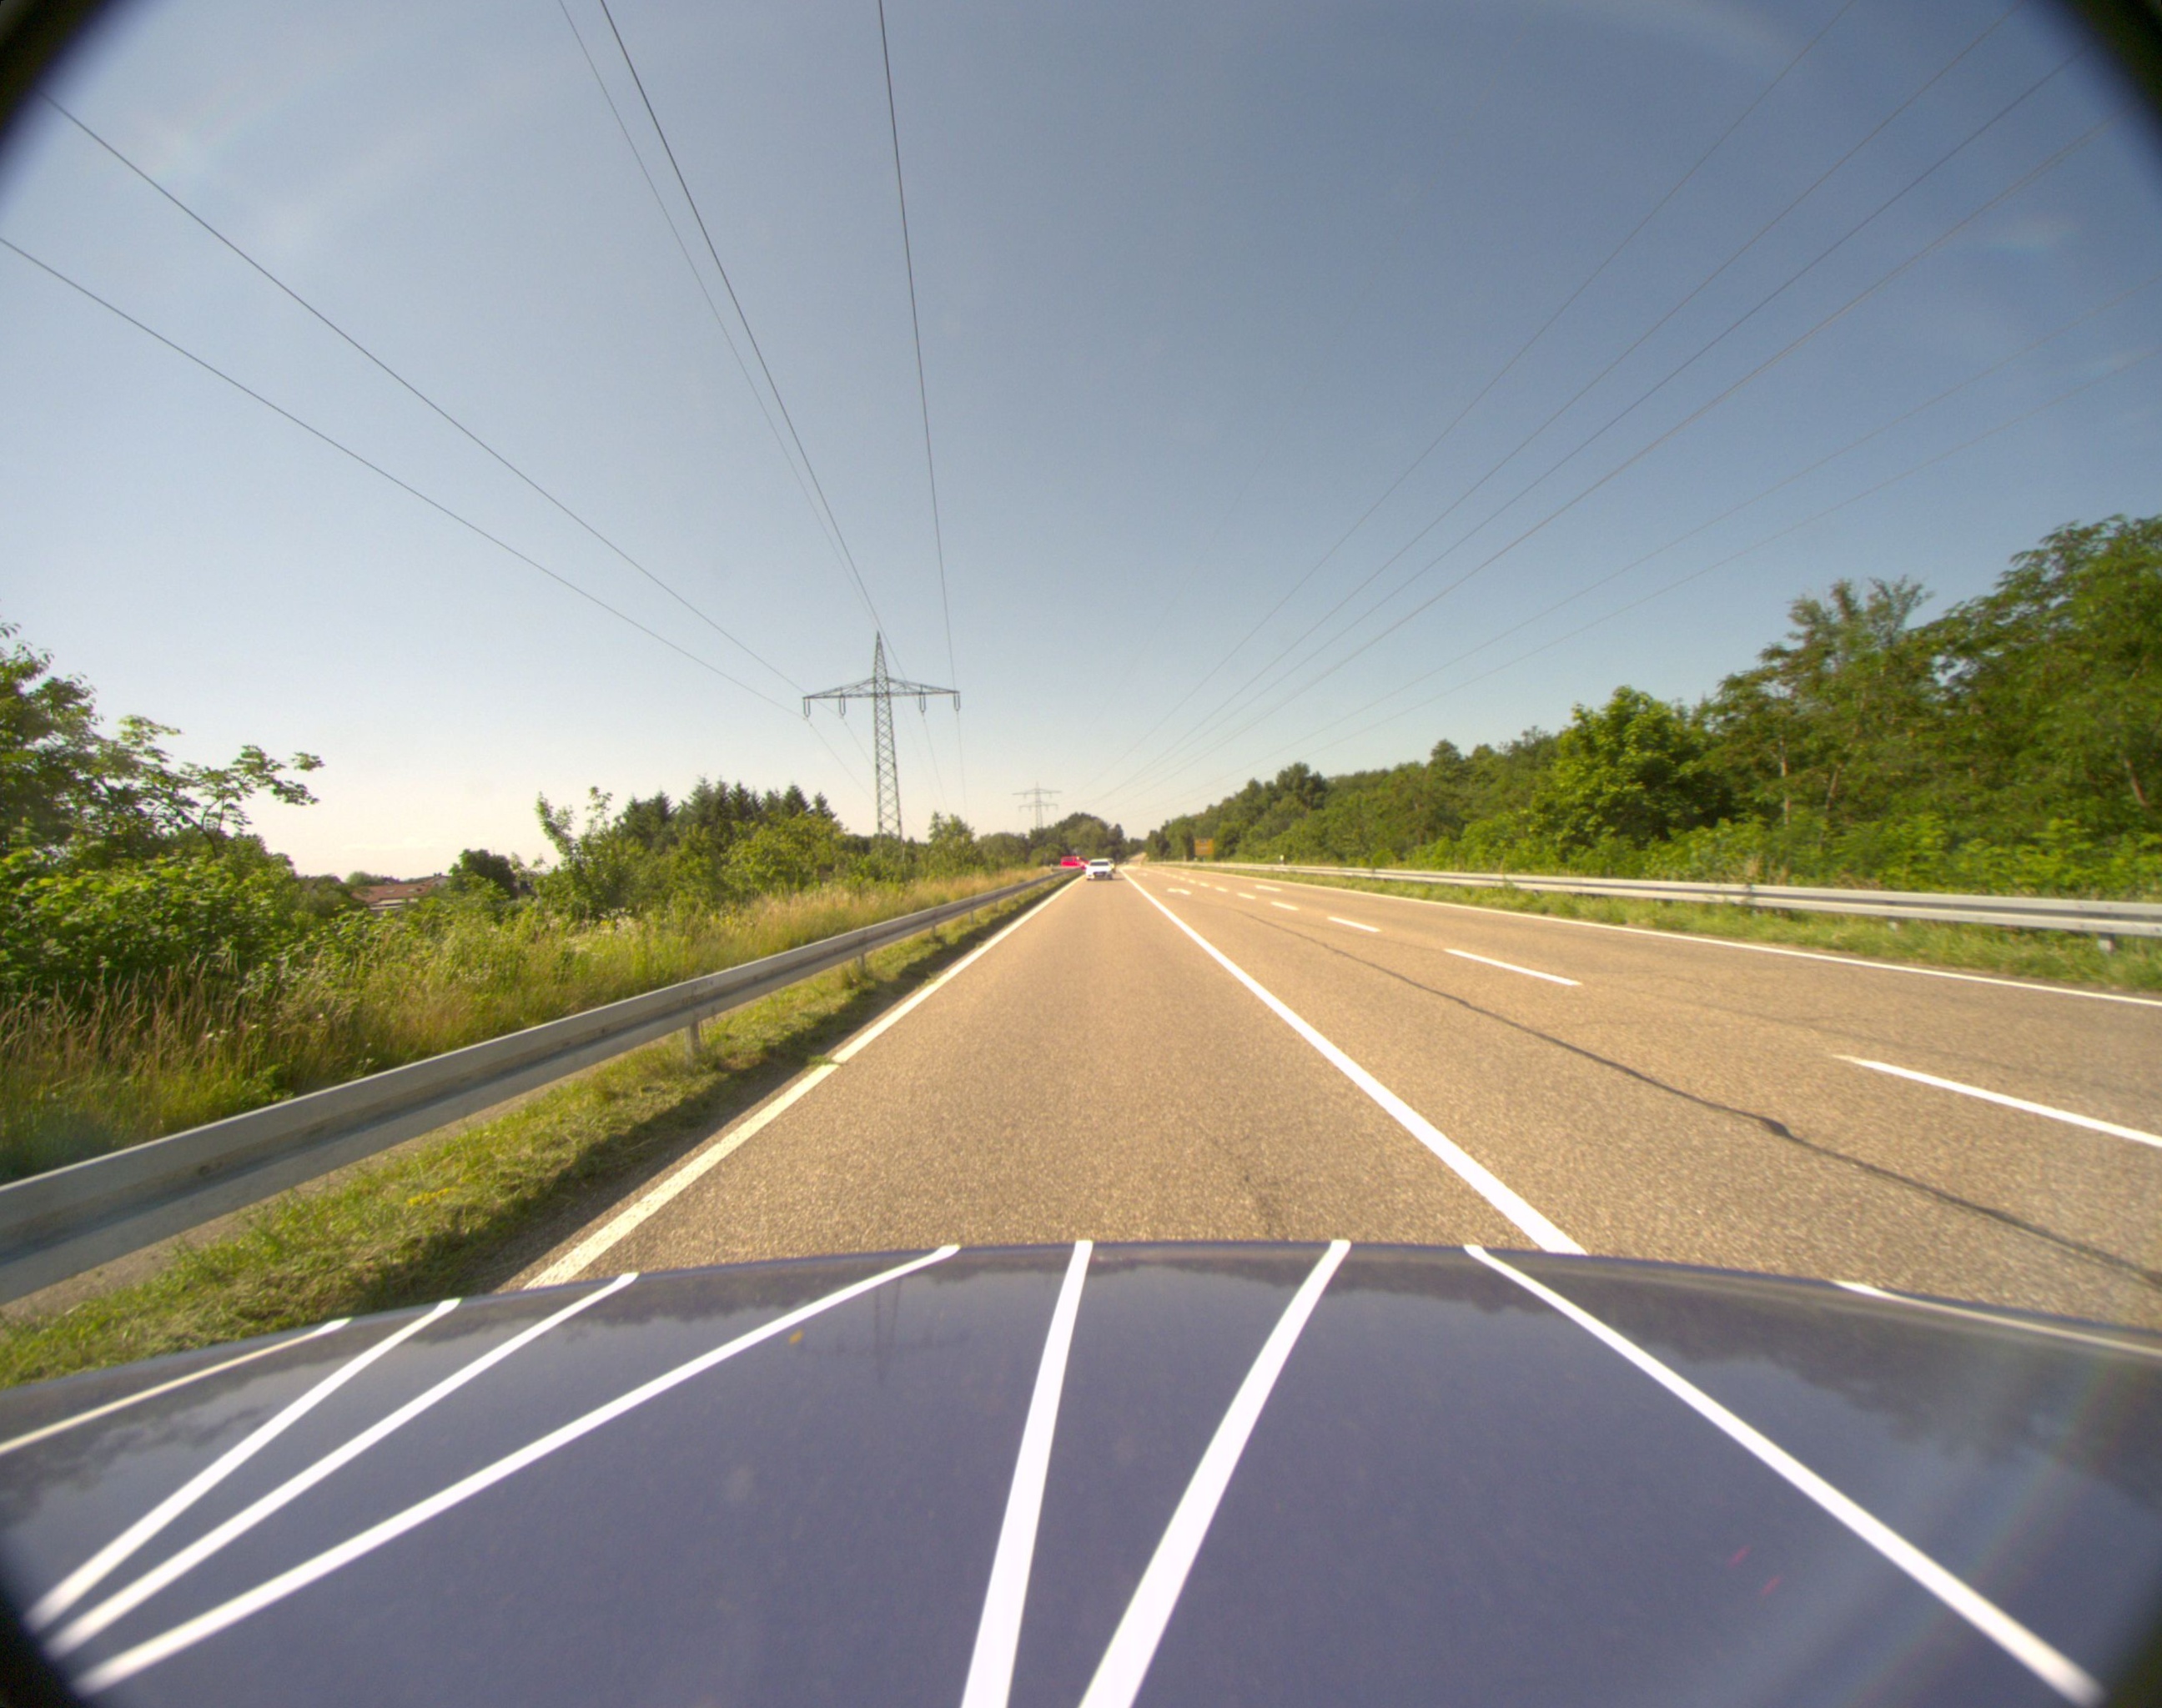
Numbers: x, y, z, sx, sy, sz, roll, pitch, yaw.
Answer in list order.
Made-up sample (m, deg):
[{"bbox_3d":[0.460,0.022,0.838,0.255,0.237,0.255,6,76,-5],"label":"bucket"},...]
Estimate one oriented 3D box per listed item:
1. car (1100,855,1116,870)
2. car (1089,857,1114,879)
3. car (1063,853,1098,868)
[{"bbox_3d":[2.863,0.917,80.933,1.549,1.460,3.661,-2,0,0],"label":"car"},{"bbox_3d":[1.474,0.948,54.532,1.683,1.471,4.473,-1,0,1],"label":"car"},{"bbox_3d":[-0.085,0.876,103.815,4.824,1.892,1.799,-2,0,41],"label":"car"}]
